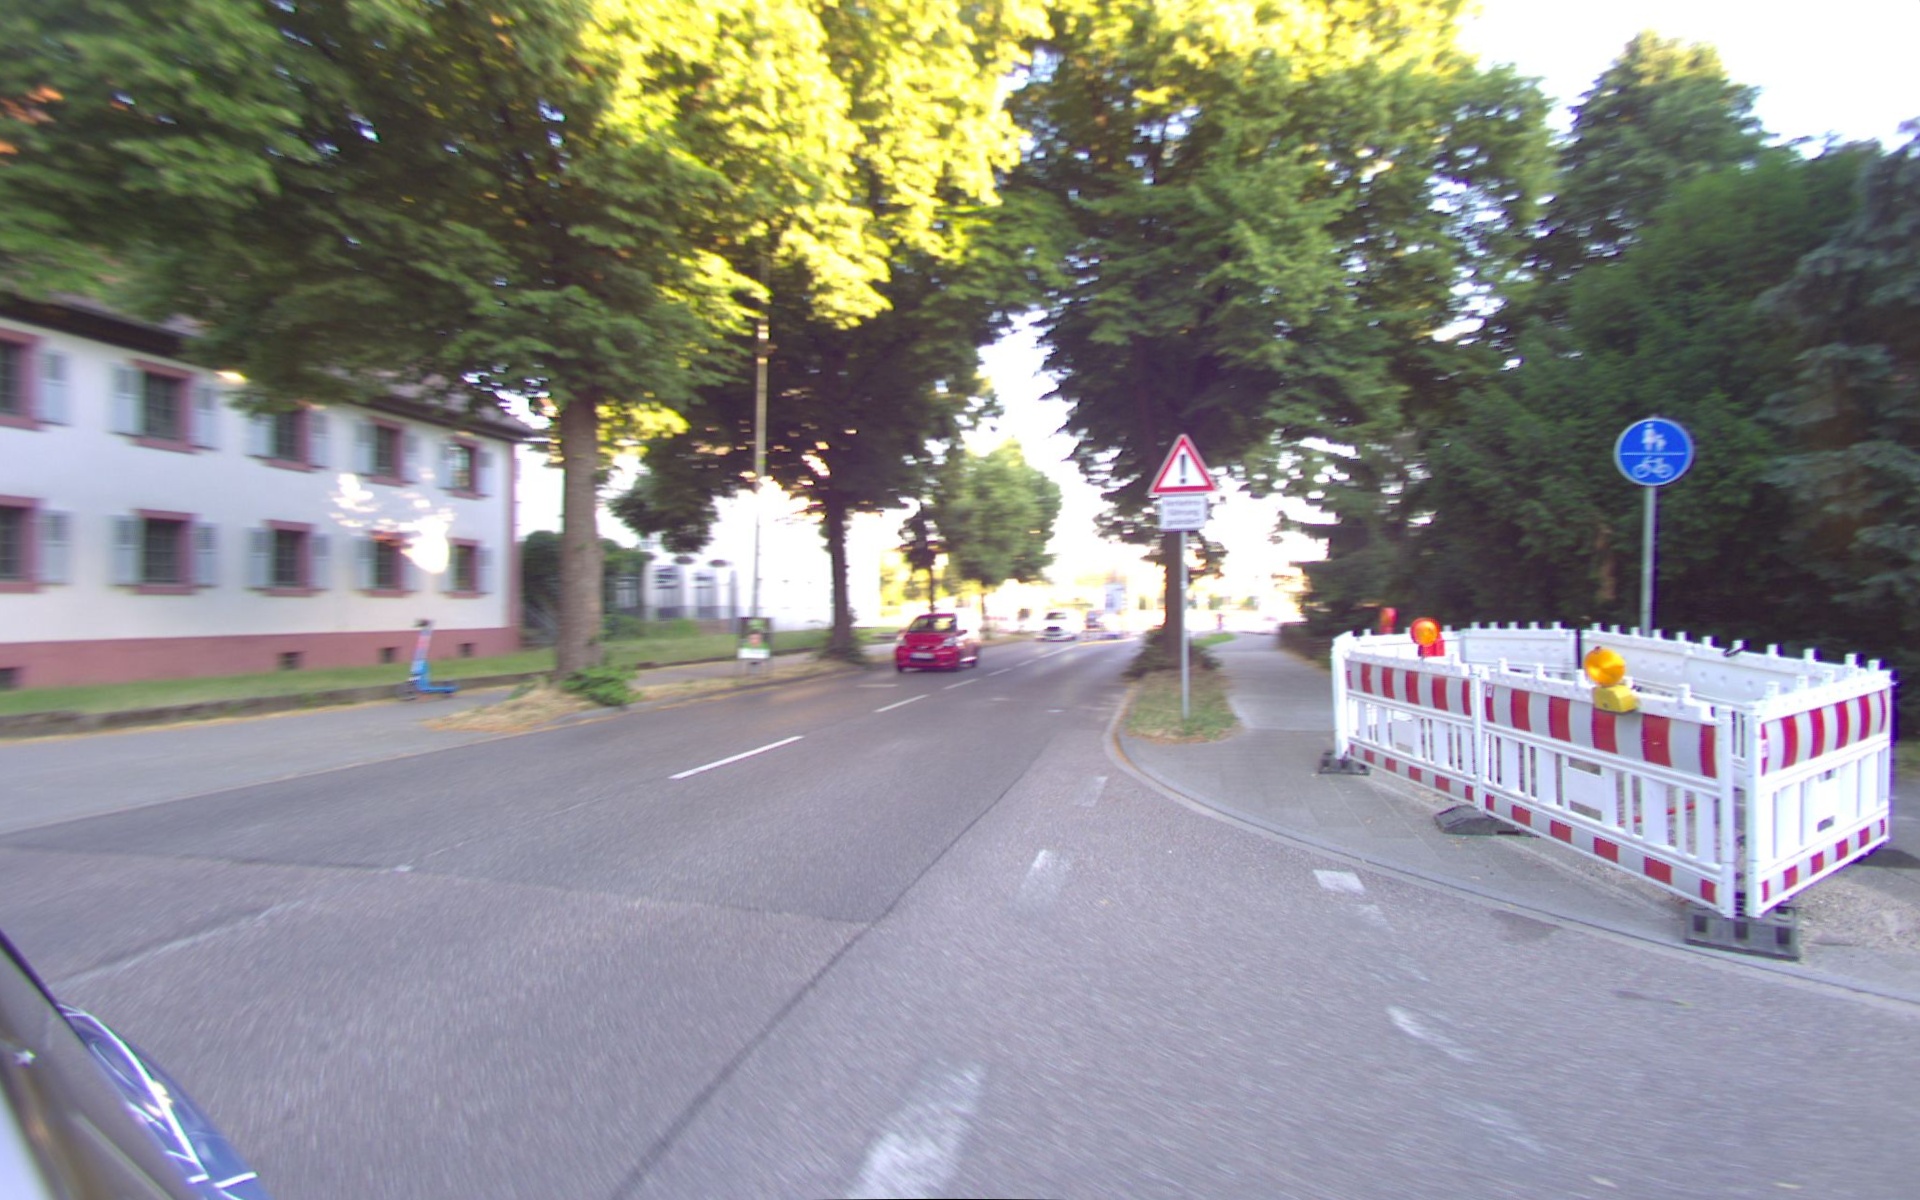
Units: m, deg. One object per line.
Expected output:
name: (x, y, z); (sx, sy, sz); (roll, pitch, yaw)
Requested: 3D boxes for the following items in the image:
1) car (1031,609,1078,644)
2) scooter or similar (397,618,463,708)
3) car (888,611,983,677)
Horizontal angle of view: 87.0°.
car: (4.853, 1.316, 51.622); (1.774, 1.568, 4.391); (-1, 0, 13)
scooter or similar: (-8.056, 0.928, 15.420); (0.237, 1.285, 1.264); (0, 0, 6)
car: (-0.538, 1.055, 25.900); (1.602, 1.423, 4.397); (-1, 0, 10)
